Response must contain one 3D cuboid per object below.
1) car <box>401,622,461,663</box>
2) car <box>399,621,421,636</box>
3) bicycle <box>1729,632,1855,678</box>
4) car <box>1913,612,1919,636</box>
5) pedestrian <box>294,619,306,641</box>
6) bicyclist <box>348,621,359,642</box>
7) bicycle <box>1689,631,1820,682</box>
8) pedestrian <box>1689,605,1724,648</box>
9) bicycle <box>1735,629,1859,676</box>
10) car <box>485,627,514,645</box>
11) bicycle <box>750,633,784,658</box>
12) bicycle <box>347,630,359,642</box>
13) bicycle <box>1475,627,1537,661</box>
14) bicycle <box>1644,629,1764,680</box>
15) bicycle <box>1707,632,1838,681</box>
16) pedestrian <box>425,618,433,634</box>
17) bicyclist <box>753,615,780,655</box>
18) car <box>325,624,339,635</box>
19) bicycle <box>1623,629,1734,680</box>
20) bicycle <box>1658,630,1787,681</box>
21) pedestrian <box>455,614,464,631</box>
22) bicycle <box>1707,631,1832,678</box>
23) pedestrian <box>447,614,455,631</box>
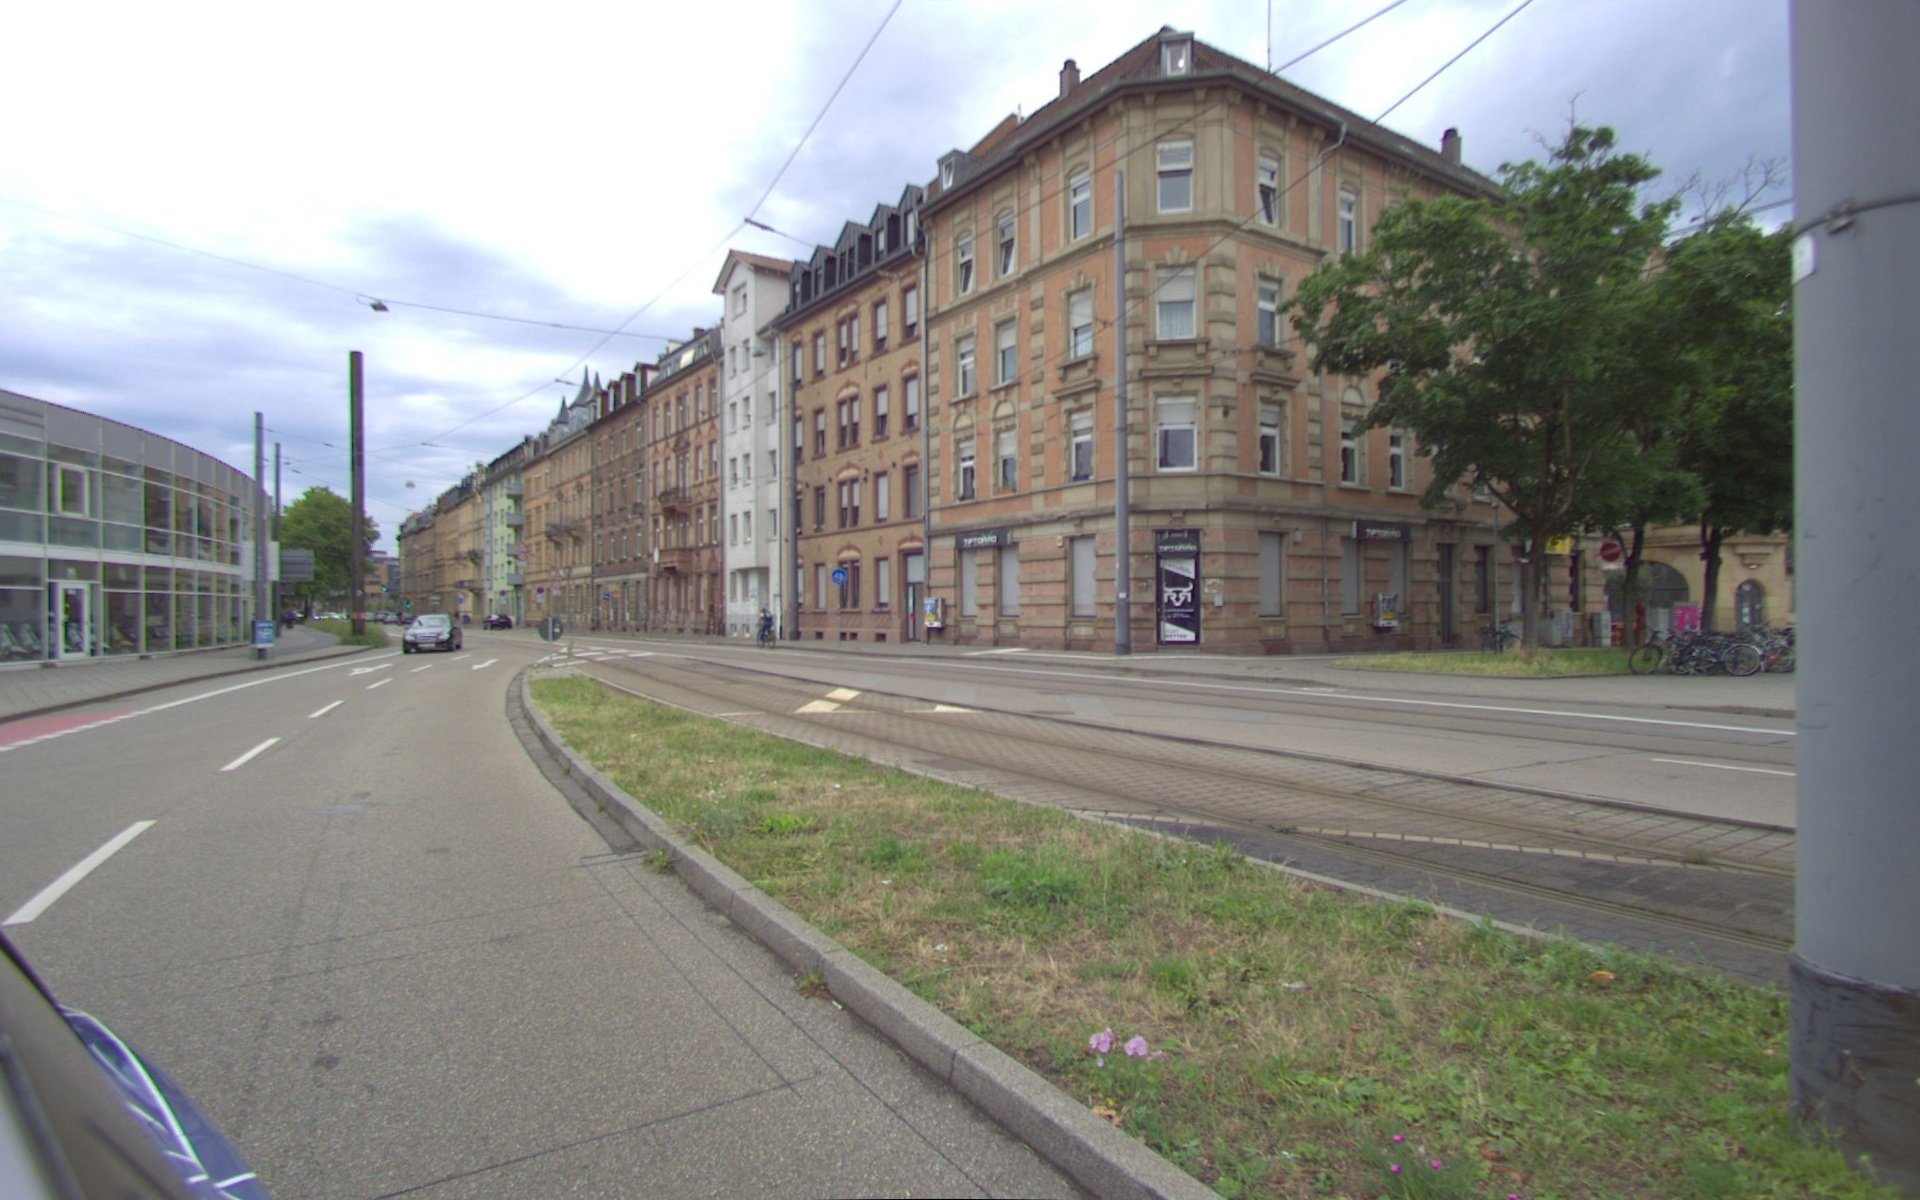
[{"bbox_3d":[-20.329,1.600,39.044,1.686,1.432,4.083,0,-1,-22],"label":"car"},{"bbox_3d":[-60.509,3.118,111.352,1.773,1.652,4.241,0,-1,-33],"label":"car"},{"bbox_3d":[19.325,1.251,23.570,0.575,0.994,2.228,0,-1,-24],"label":"bicycle"},{"bbox_3d":[58.836,1.413,59.800,1.680,1.460,4.171,-1,-1,12],"label":"car"},{"bbox_3d":[-55.940,2.520,85.764,0.857,1.868,0.708,0,-1,-34],"label":"pedestrian"},{"bbox_3d":[-50.791,2.655,84.746,0.718,1.770,0.913,0,-1,-28],"label":"bicyclist"},{"bbox_3d":[17.051,1.191,21.804,0.491,0.994,2.228,0,-1,-24],"label":"bicycle"},{"bbox_3d":[31.152,1.099,42.255,0.936,1.735,0.850,0,-1,-31],"label":"pedestrian"},{"bbox_3d":[20.199,1.236,24.490,0.677,1.047,2.228,0,-1,-24],"label":"bicycle"},{"bbox_3d":[-40.524,3.120,89.014,1.823,1.491,3.839,0,-1,-31],"label":"car"},{"bbox_3d":[-7.480,1.757,39.164,0.598,0.922,1.723,0,-1,-38],"label":"bicycle"},{"bbox_3d":[-50.881,3.012,84.897,0.715,1.016,2.183,0,-1,-27],"label":"bicycle"},{"bbox_3d":[15.769,1.262,29.299,0.653,0.921,1.990,0,-1,-1],"label":"bicycle"},{"bbox_3d":[15.745,1.130,21.484,0.513,0.994,2.044,0,-1,-24],"label":"bicycle"},{"bbox_3d":[18.054,1.230,22.557,0.600,0.994,2.228,0,-1,-24],"label":"bicycle"},{"bbox_3d":[-68.474,3.395,130.488,0.801,2.029,0.735,0,-1,-34],"label":"pedestrian"},{"bbox_3d":[-7.516,1.352,39.221,0.652,1.506,0.944,0,-1,-37],"label":"bicyclist"},{"bbox_3d":[-101.925,4.780,164.158,1.773,1.652,4.241,0,-1,-33],"label":"car"},{"bbox_3d":[15.038,1.121,21.238,0.491,0.994,1.875,0,-1,-26],"label":"bicycle"},{"bbox_3d":[16.269,1.166,21.676,0.472,1.014,2.228,0,-1,-24],"label":"bicycle"},{"bbox_3d":[-59.442,2.636,120.246,0.797,2.029,0.880,0,-1,-34],"label":"pedestrian"},{"bbox_3d":[18.451,1.222,23.127,0.491,0.994,2.228,0,-1,-24],"label":"bicycle"},{"bbox_3d":[-60.269,2.634,119.795,0.797,2.029,0.702,0,-1,-34],"label":"pedestrian"}]
